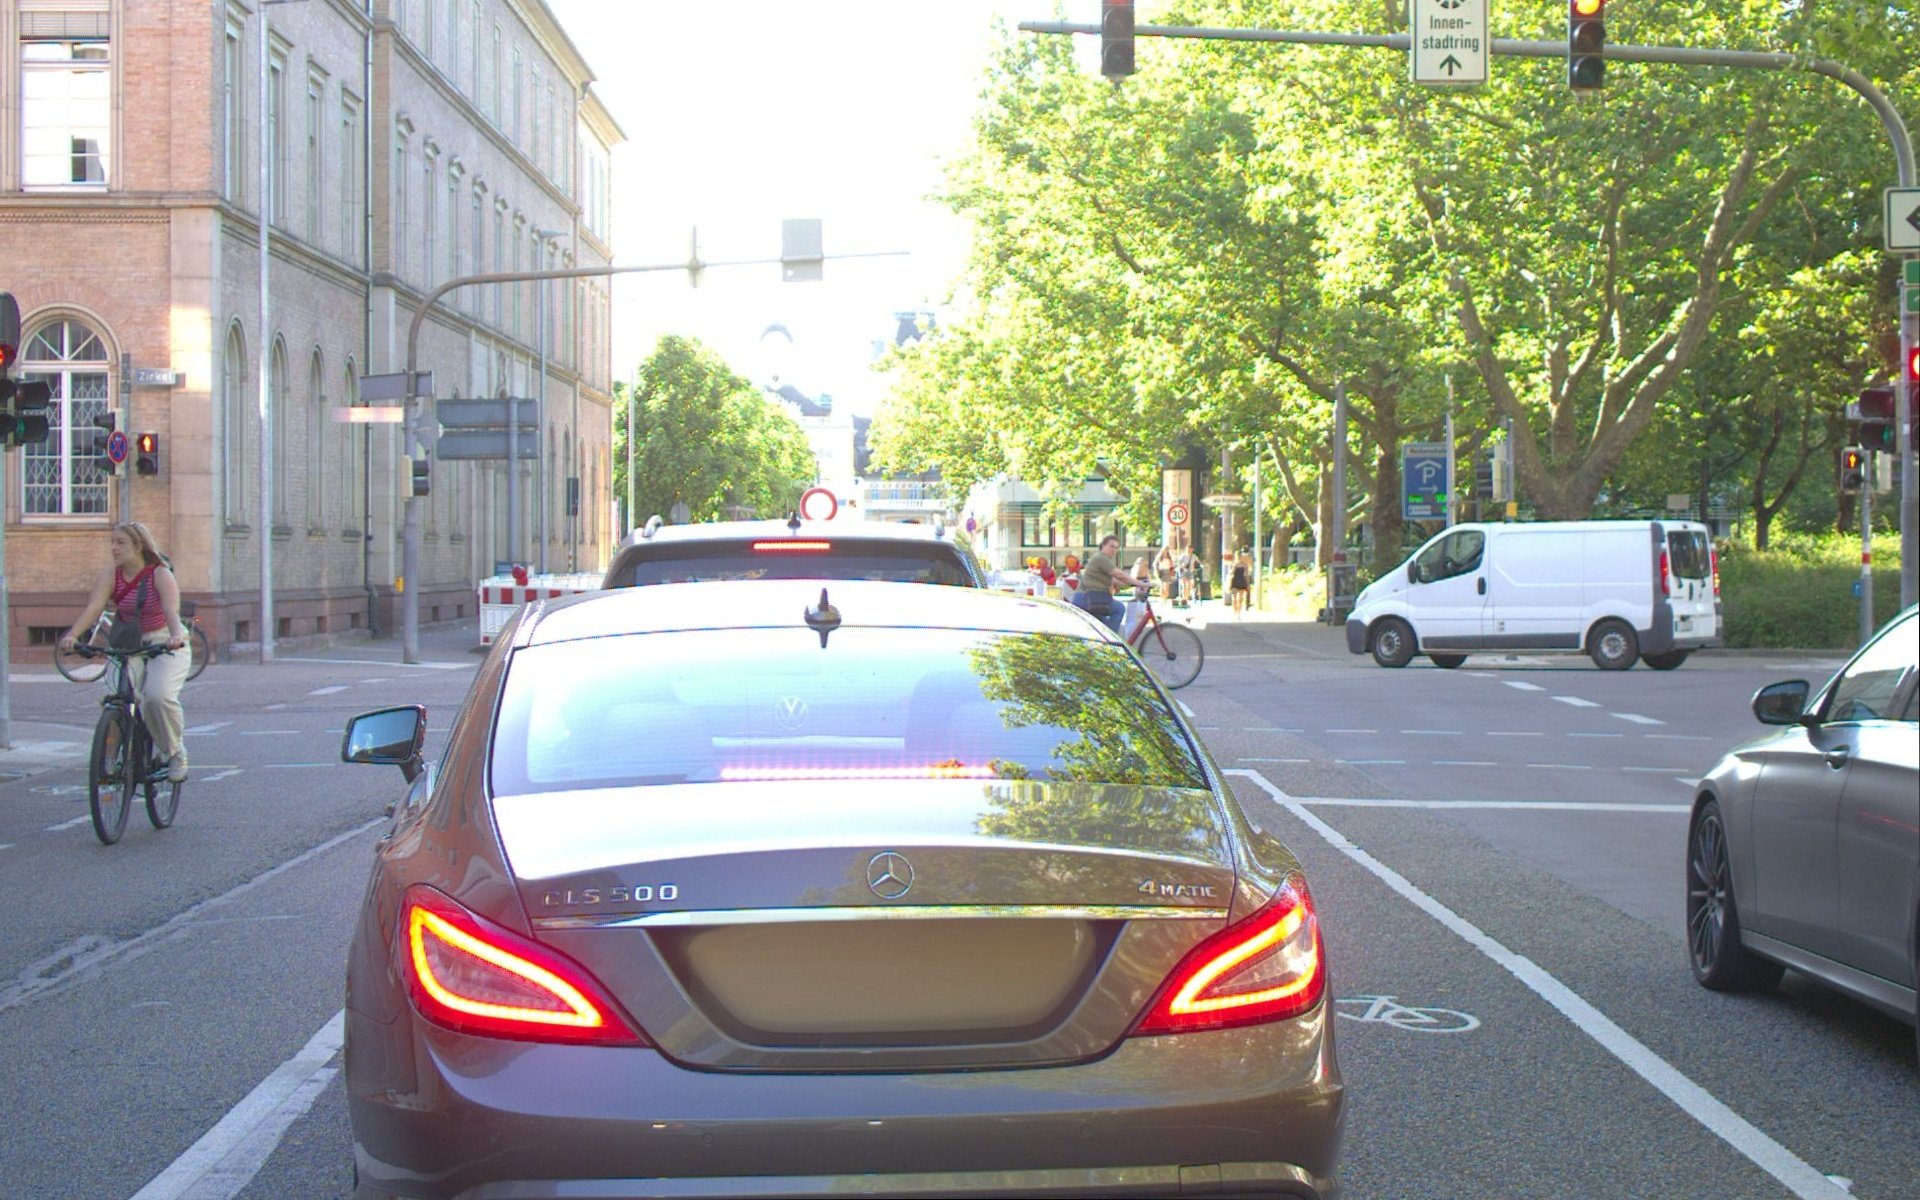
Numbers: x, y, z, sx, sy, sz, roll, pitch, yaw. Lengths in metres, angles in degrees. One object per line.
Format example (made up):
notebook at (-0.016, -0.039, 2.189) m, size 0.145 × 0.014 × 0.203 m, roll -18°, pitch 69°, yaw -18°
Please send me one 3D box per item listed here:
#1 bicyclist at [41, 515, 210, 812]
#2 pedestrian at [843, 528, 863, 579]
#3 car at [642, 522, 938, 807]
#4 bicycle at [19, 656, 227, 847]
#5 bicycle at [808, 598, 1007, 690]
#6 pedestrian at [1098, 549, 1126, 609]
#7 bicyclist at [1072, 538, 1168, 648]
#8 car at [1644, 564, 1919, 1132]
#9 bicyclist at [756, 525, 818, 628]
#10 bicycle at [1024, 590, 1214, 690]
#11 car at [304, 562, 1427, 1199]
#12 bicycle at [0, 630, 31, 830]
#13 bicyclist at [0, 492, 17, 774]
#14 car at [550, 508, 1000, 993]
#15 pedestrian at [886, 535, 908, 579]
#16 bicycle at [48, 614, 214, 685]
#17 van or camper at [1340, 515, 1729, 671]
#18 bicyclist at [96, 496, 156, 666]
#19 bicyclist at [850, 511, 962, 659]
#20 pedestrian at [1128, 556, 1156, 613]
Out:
bicyclist at (-4.522, 0.327, 18.678) m, size 0.685 × 1.572 × 0.982 m, roll 0°, pitch 1°, yaw 0°
pedestrian at (-4.049, -1.756, 129.983) m, size 0.721 × 1.895 × 0.704 m, roll 0°, pitch 1°, yaw -1°
car at (-1.074, 0.363, 23.246) m, size 1.820 × 1.756 × 4.000 m, roll 0°, pitch 1°, yaw -1°
bicycle at (-4.521, 0.798, 18.685) m, size 0.693 × 0.926 × 1.863 m, roll 0°, pitch 1°, yaw 0°
bicycle at (-0.529, 0.440, 34.827) m, size 1.986 × 0.900 × 0.734 m, roll 0°, pitch 1°, yaw 0°
pedestrian at (3.826, -0.530, 86.525) m, size 0.648 × 1.498 × 0.637 m, roll 0°, pitch 1°, yaw -1°
bicyclist at (1.679, -0.079, 36.149) m, size 0.991 × 1.150 × 0.620 m, roll 0°, pitch 1°, yaw 2°
car at (3.467, 0.668, 10.060) m, size 1.913 × 1.459 × 4.669 m, roll 2°, pitch 1°, yaw -1°
bicyclist at (-2.119, -0.287, 42.144) m, size 0.704 × 1.256 × 0.457 m, roll 0°, pitch 1°, yaw 4°
bicycle at (1.664, 0.414, 36.173) m, size 1.980 × 1.024 × 0.651 m, roll 0°, pitch 1°, yaw 2°
car at (-0.423, 0.662, 7.671) m, size 1.803 × 1.451 × 4.352 m, roll 0°, pitch 1°, yaw -8°
bicycle at (-5.704, 0.723, 18.876) m, size 0.862 × 1.075 × 1.837 m, roll 0°, pitch 1°, yaw -5°
bicyclist at (-5.692, 0.181, 18.879) m, size 0.842 × 1.549 × 0.839 m, roll 0°, pitch 1°, yaw -4°
car at (-0.718, 0.484, 13.666) m, size 1.517 × 1.641 × 3.881 m, roll 1°, pitch 1°, yaw -3°
pedestrian at (-2.266, -1.539, 123.569) m, size 0.801 × 1.571 × 0.845 m, roll 0°, pitch 1°, yaw -1°
bicycle at (-9.874, 0.585, 40.975) m, size 1.891 × 0.834 × 0.458 m, roll 0°, pitch 1°, yaw -8°
van or camper at (7.486, -0.130, 44.925) m, size 4.587 × 1.935 × 1.996 m, roll 1°, pitch 1°, yaw 31°
bicyclist at (-9.937, -0.229, 40.958) m, size 0.652 × 2.007 × 0.440 m, roll 0°, pitch 1°, yaw -8°
bicyclist at (-0.545, -0.155, 34.829) m, size 1.116 × 1.485 × 0.712 m, roll 0°, pitch 1°, yaw -1°
pedestrian at (4.560, -0.390, 86.199) m, size 0.648 × 1.428 × 0.659 m, roll 0°, pitch 1°, yaw -1°
